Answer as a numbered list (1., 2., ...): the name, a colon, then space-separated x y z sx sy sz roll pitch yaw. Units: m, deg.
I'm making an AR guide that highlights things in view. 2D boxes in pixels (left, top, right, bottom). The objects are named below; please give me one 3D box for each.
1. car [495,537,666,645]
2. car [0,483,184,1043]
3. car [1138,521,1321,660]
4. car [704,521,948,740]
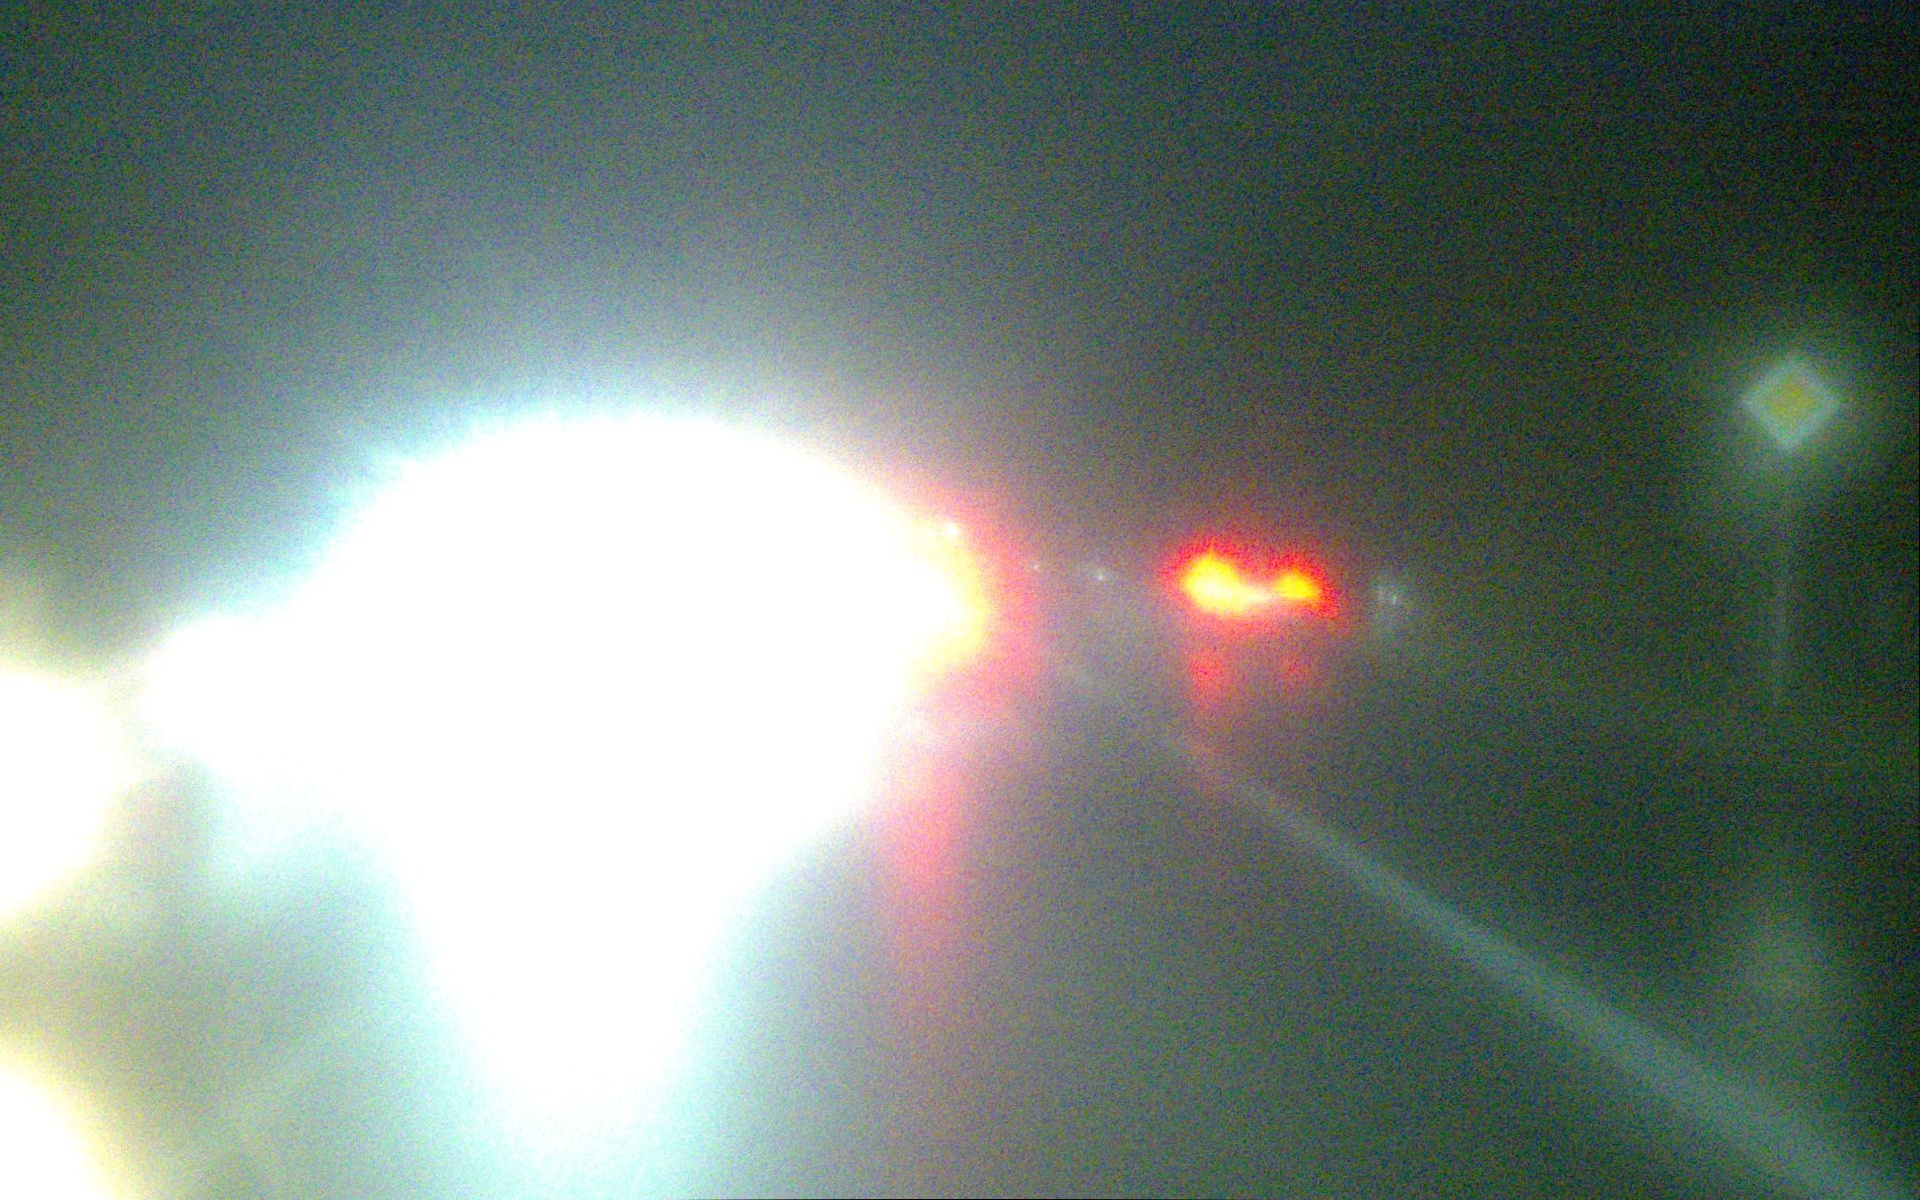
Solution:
1. car: -5.362 -0.151 49.049 1.993 1.413 4.666 1 1 -1
2. car: -3.906 0.441 12.233 1.790 1.685 4.001 1 1 -7
3. car: 4.089 -0.165 52.886 2.093 2.007 4.001 1 1 -6
4. car: -1.146 0.204 27.769 1.808 1.616 4.001 1 1 -4
